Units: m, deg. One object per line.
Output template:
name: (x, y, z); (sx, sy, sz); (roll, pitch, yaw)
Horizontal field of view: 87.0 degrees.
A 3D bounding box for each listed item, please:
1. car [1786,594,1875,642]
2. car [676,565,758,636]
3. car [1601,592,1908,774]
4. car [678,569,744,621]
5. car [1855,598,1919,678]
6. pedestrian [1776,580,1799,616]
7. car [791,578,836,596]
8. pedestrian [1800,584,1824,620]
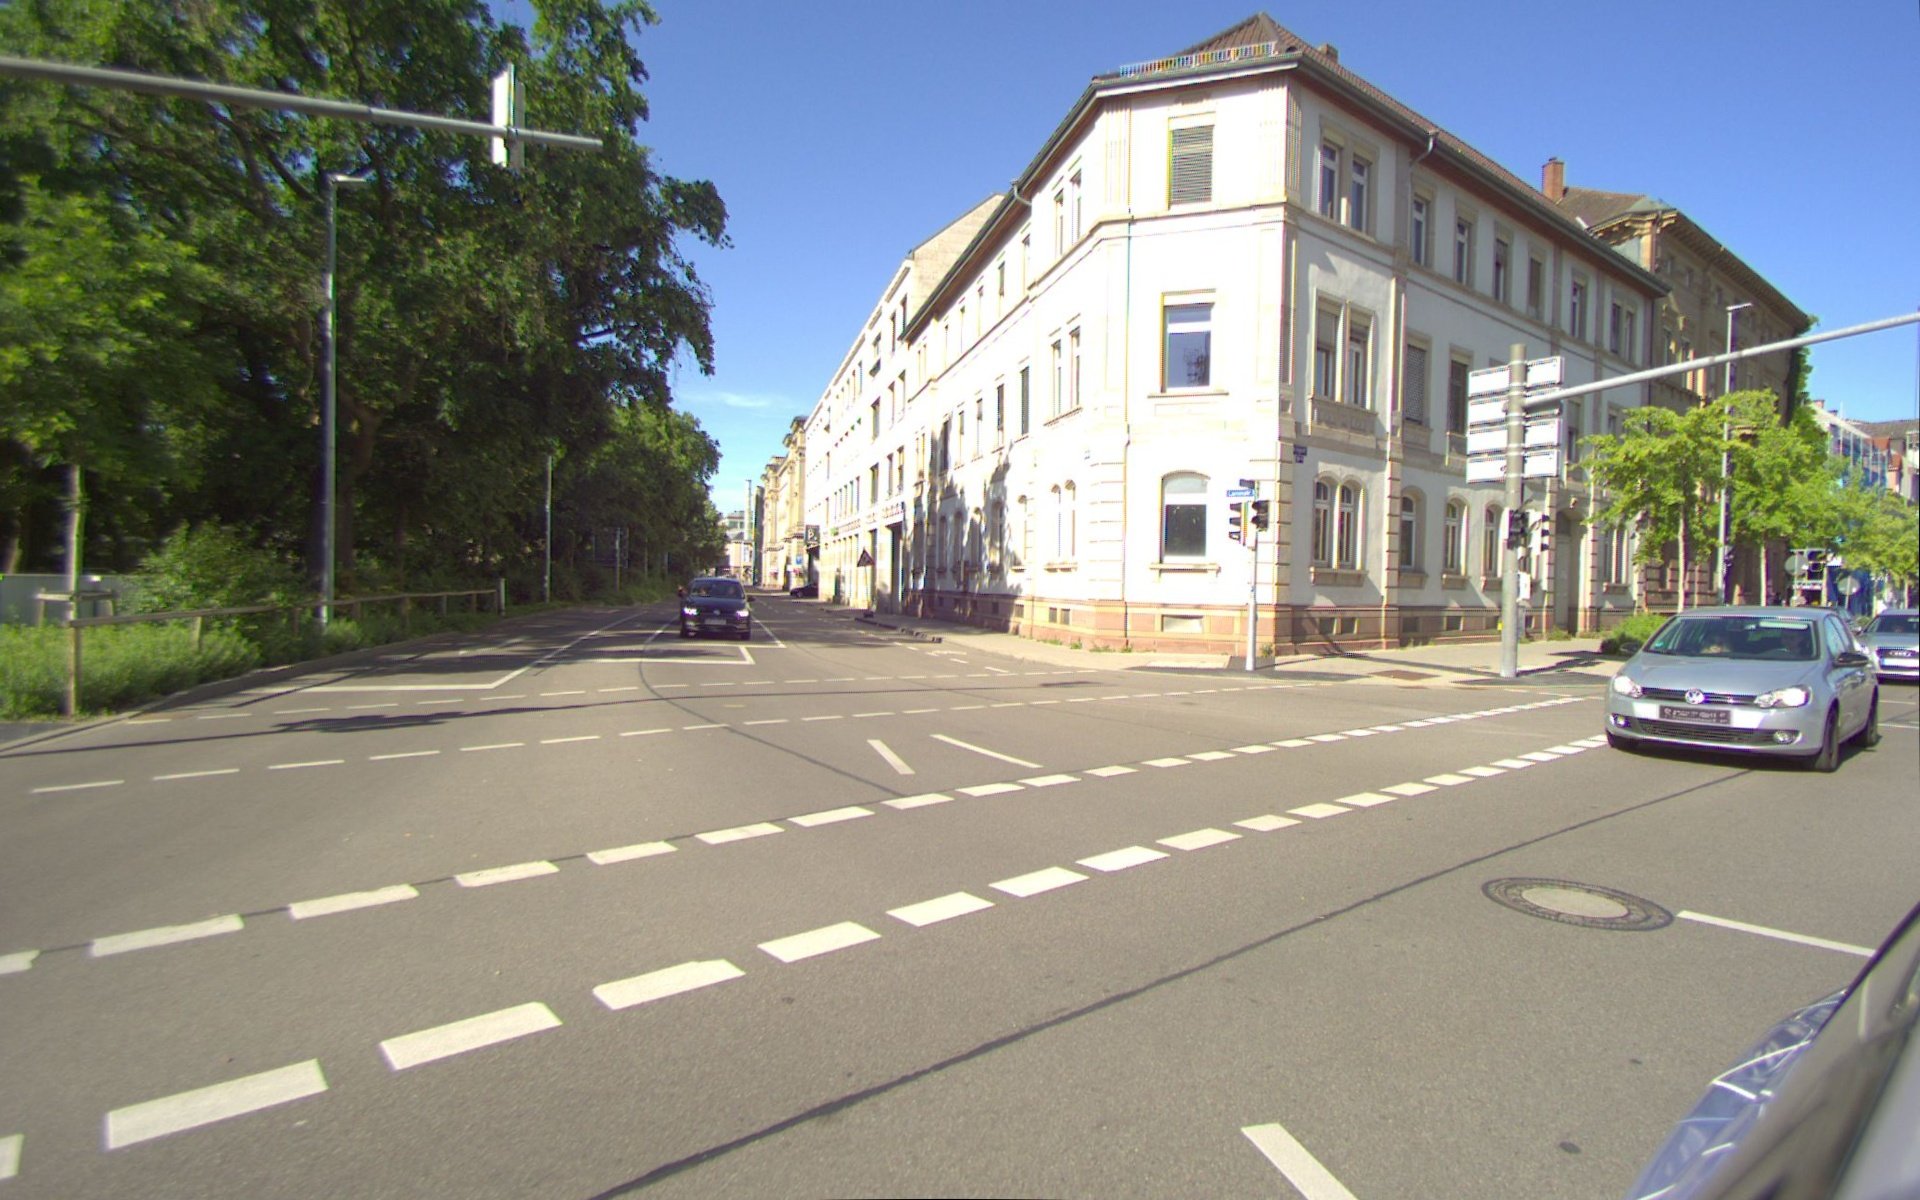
car: (29.362, 0.563, 34.110); (3.929, 1.461, 1.609); (0, 2, -40)
car: (-6.058, -0.007, 24.899); (1.696, 1.501, 4.009); (4, 0, -16)
car: (8.210, 0.676, 10.342); (3.929, 1.493, 1.702); (0, 1, -40)
car: (-7.812, -0.190, 31.585); (1.821, 1.457, 4.009); (3, 1, -15)
car: (19.059, 0.692, 19.741); (3.929, 1.442, 1.838); (0, 1, -40)
pedestrian: (37.066, -0.085, 45.319); (0.891, 1.581, 0.668); (0, 0, -41)
car: (-13.265, -1.164, 91.655); (3.916, 1.549, 2.004); (0, 0, -13)
pedestrian: (37.698, 0.082, 44.786); (0.891, 1.581, 0.668); (0, 0, -41)
